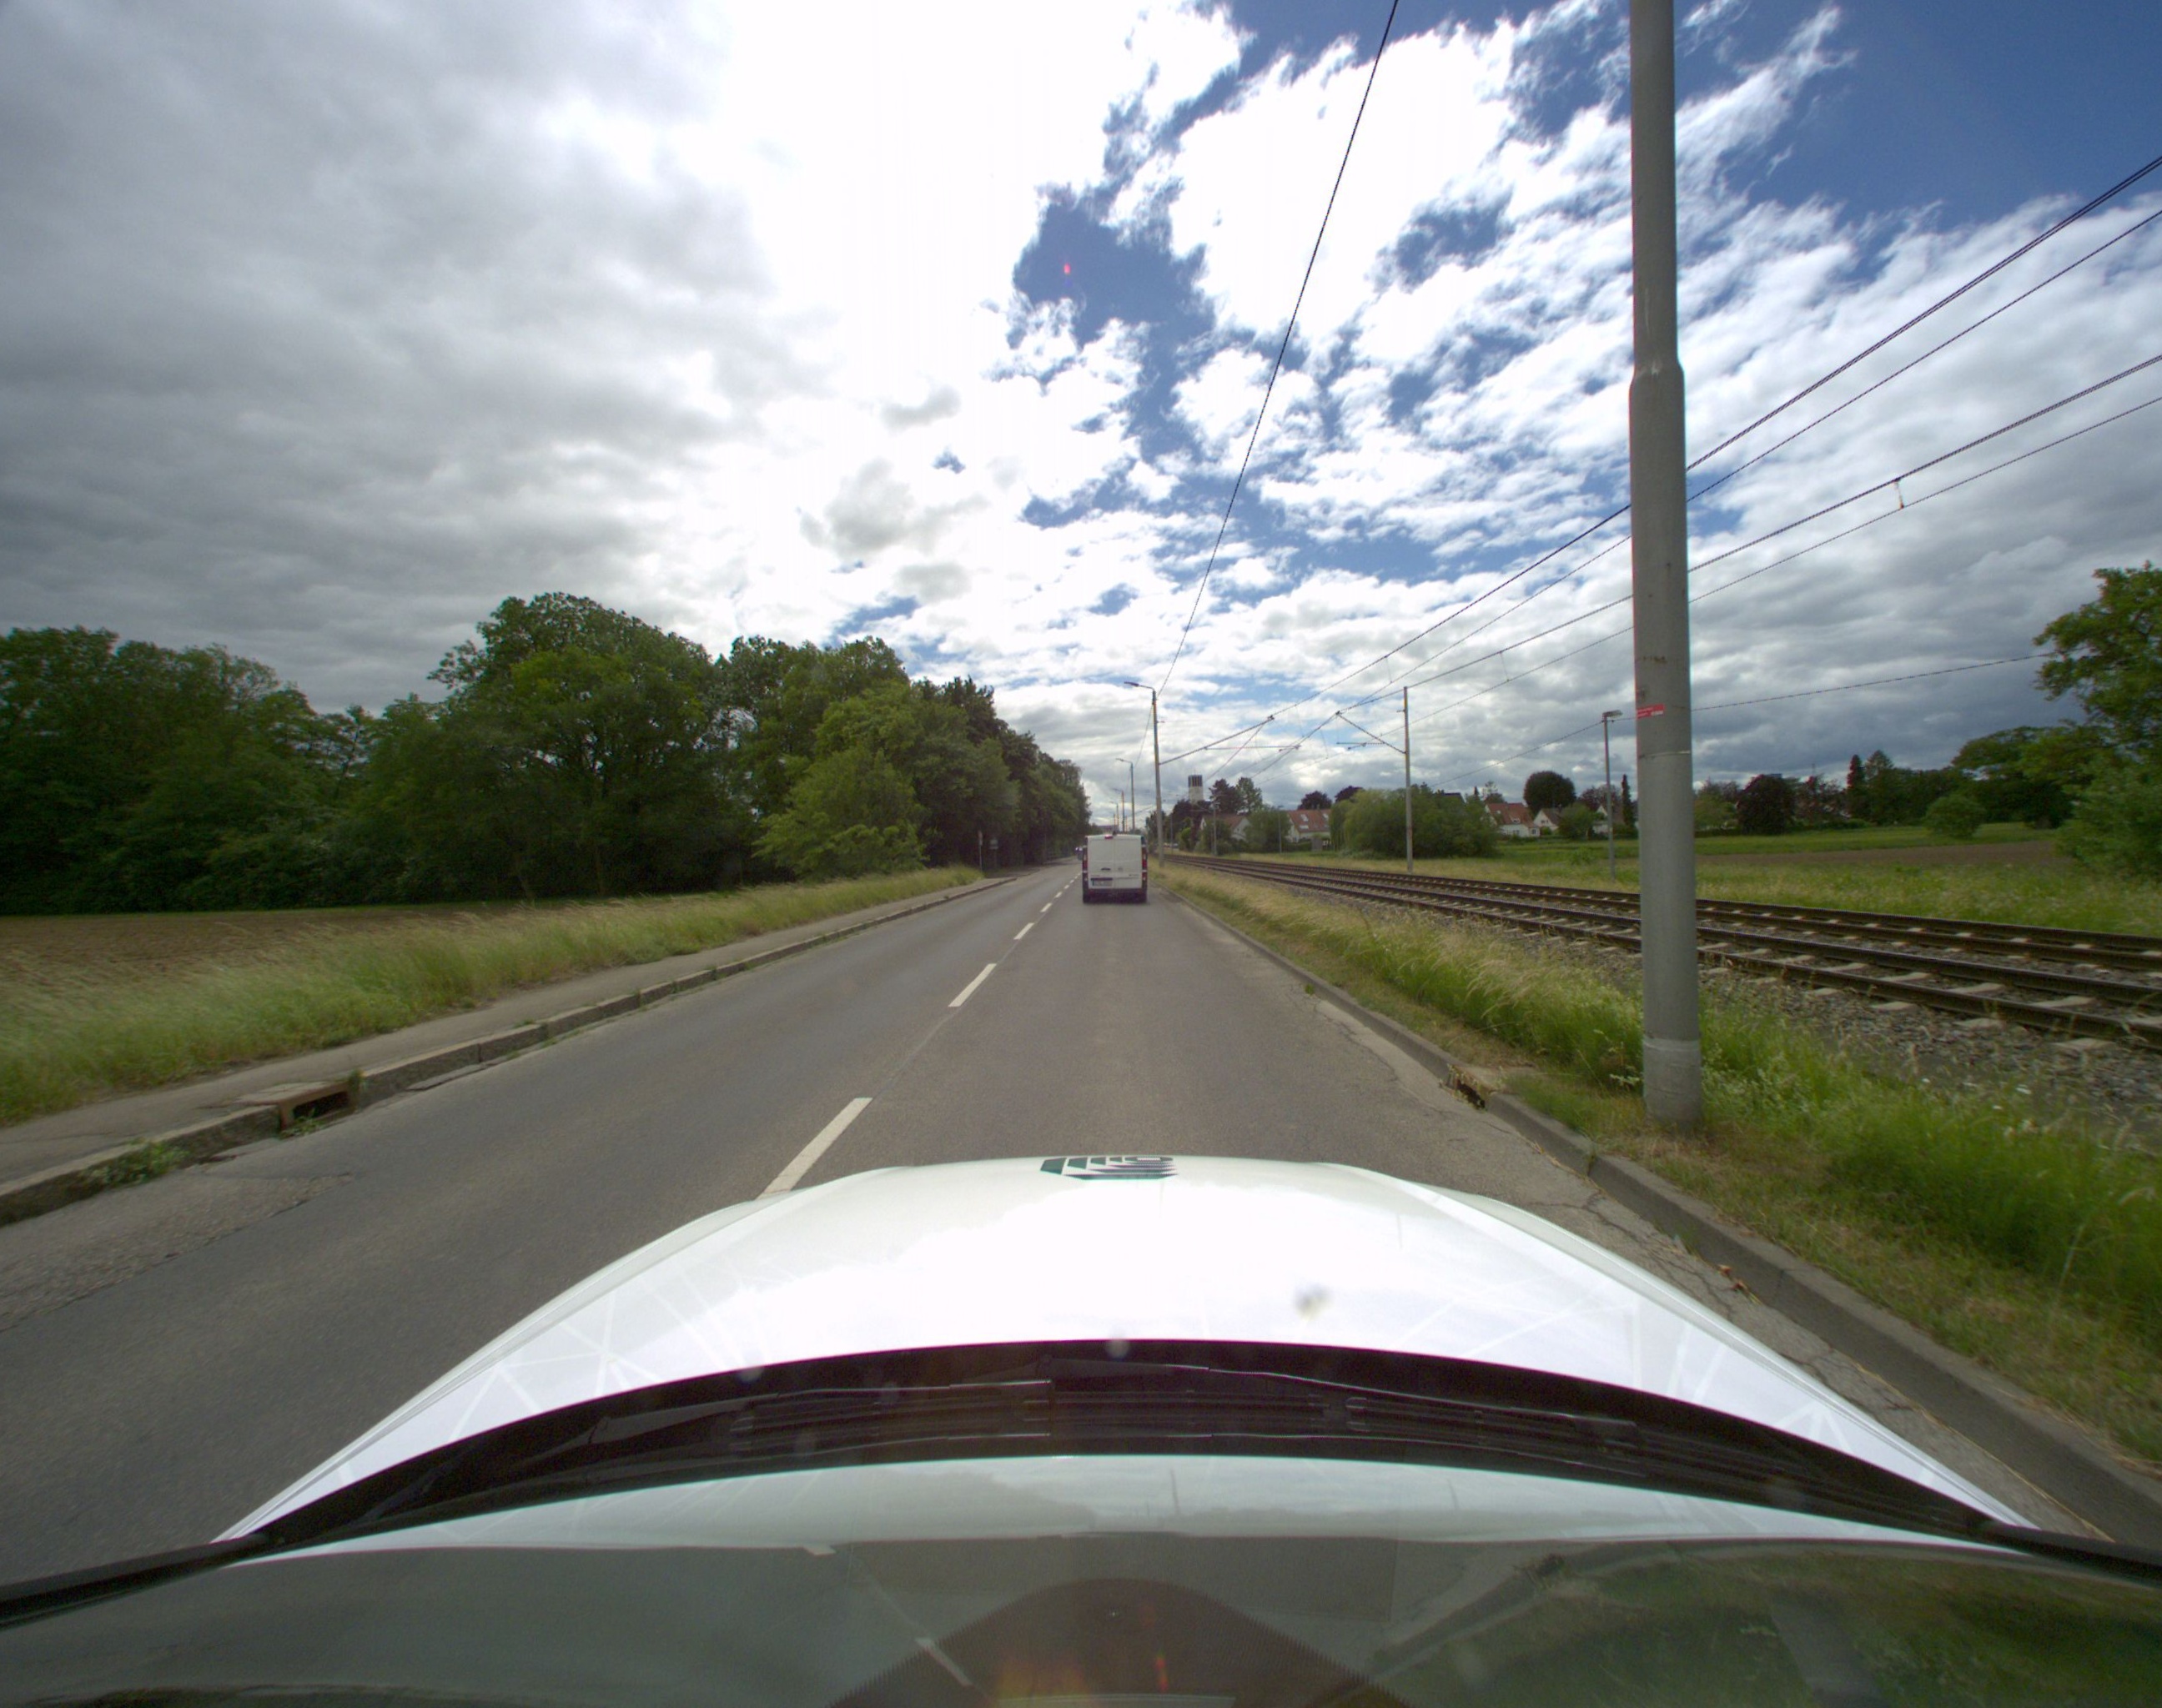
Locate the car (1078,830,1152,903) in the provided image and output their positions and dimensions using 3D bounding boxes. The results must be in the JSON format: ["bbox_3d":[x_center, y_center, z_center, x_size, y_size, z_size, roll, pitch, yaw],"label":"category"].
[{"bbox_3d":[0.958,0.342,24.513,1.987,1.957,4.000,-1,0,0],"label":"car"}]

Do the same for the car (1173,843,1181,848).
[{"bbox_3d":[30.461,-2.701,258.324,1.987,1.717,4.000,0,-1,0],"label":"car"}]

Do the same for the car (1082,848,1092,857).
[{"bbox_3d":[1.227,-0.358,162.610,1.987,1.717,4.123,-2,0,0],"label":"car"}]

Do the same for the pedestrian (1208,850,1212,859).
[{"bbox_3d":[22.163,0.053,139.851,0.654,1.506,0.657,-2,0,0],"label":"pedestrian"}]

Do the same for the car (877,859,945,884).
[{"bbox_3d":[-11.137,1.135,53.532,3.970,1.299,1.746,-4,0,3],"label":"car"}]
